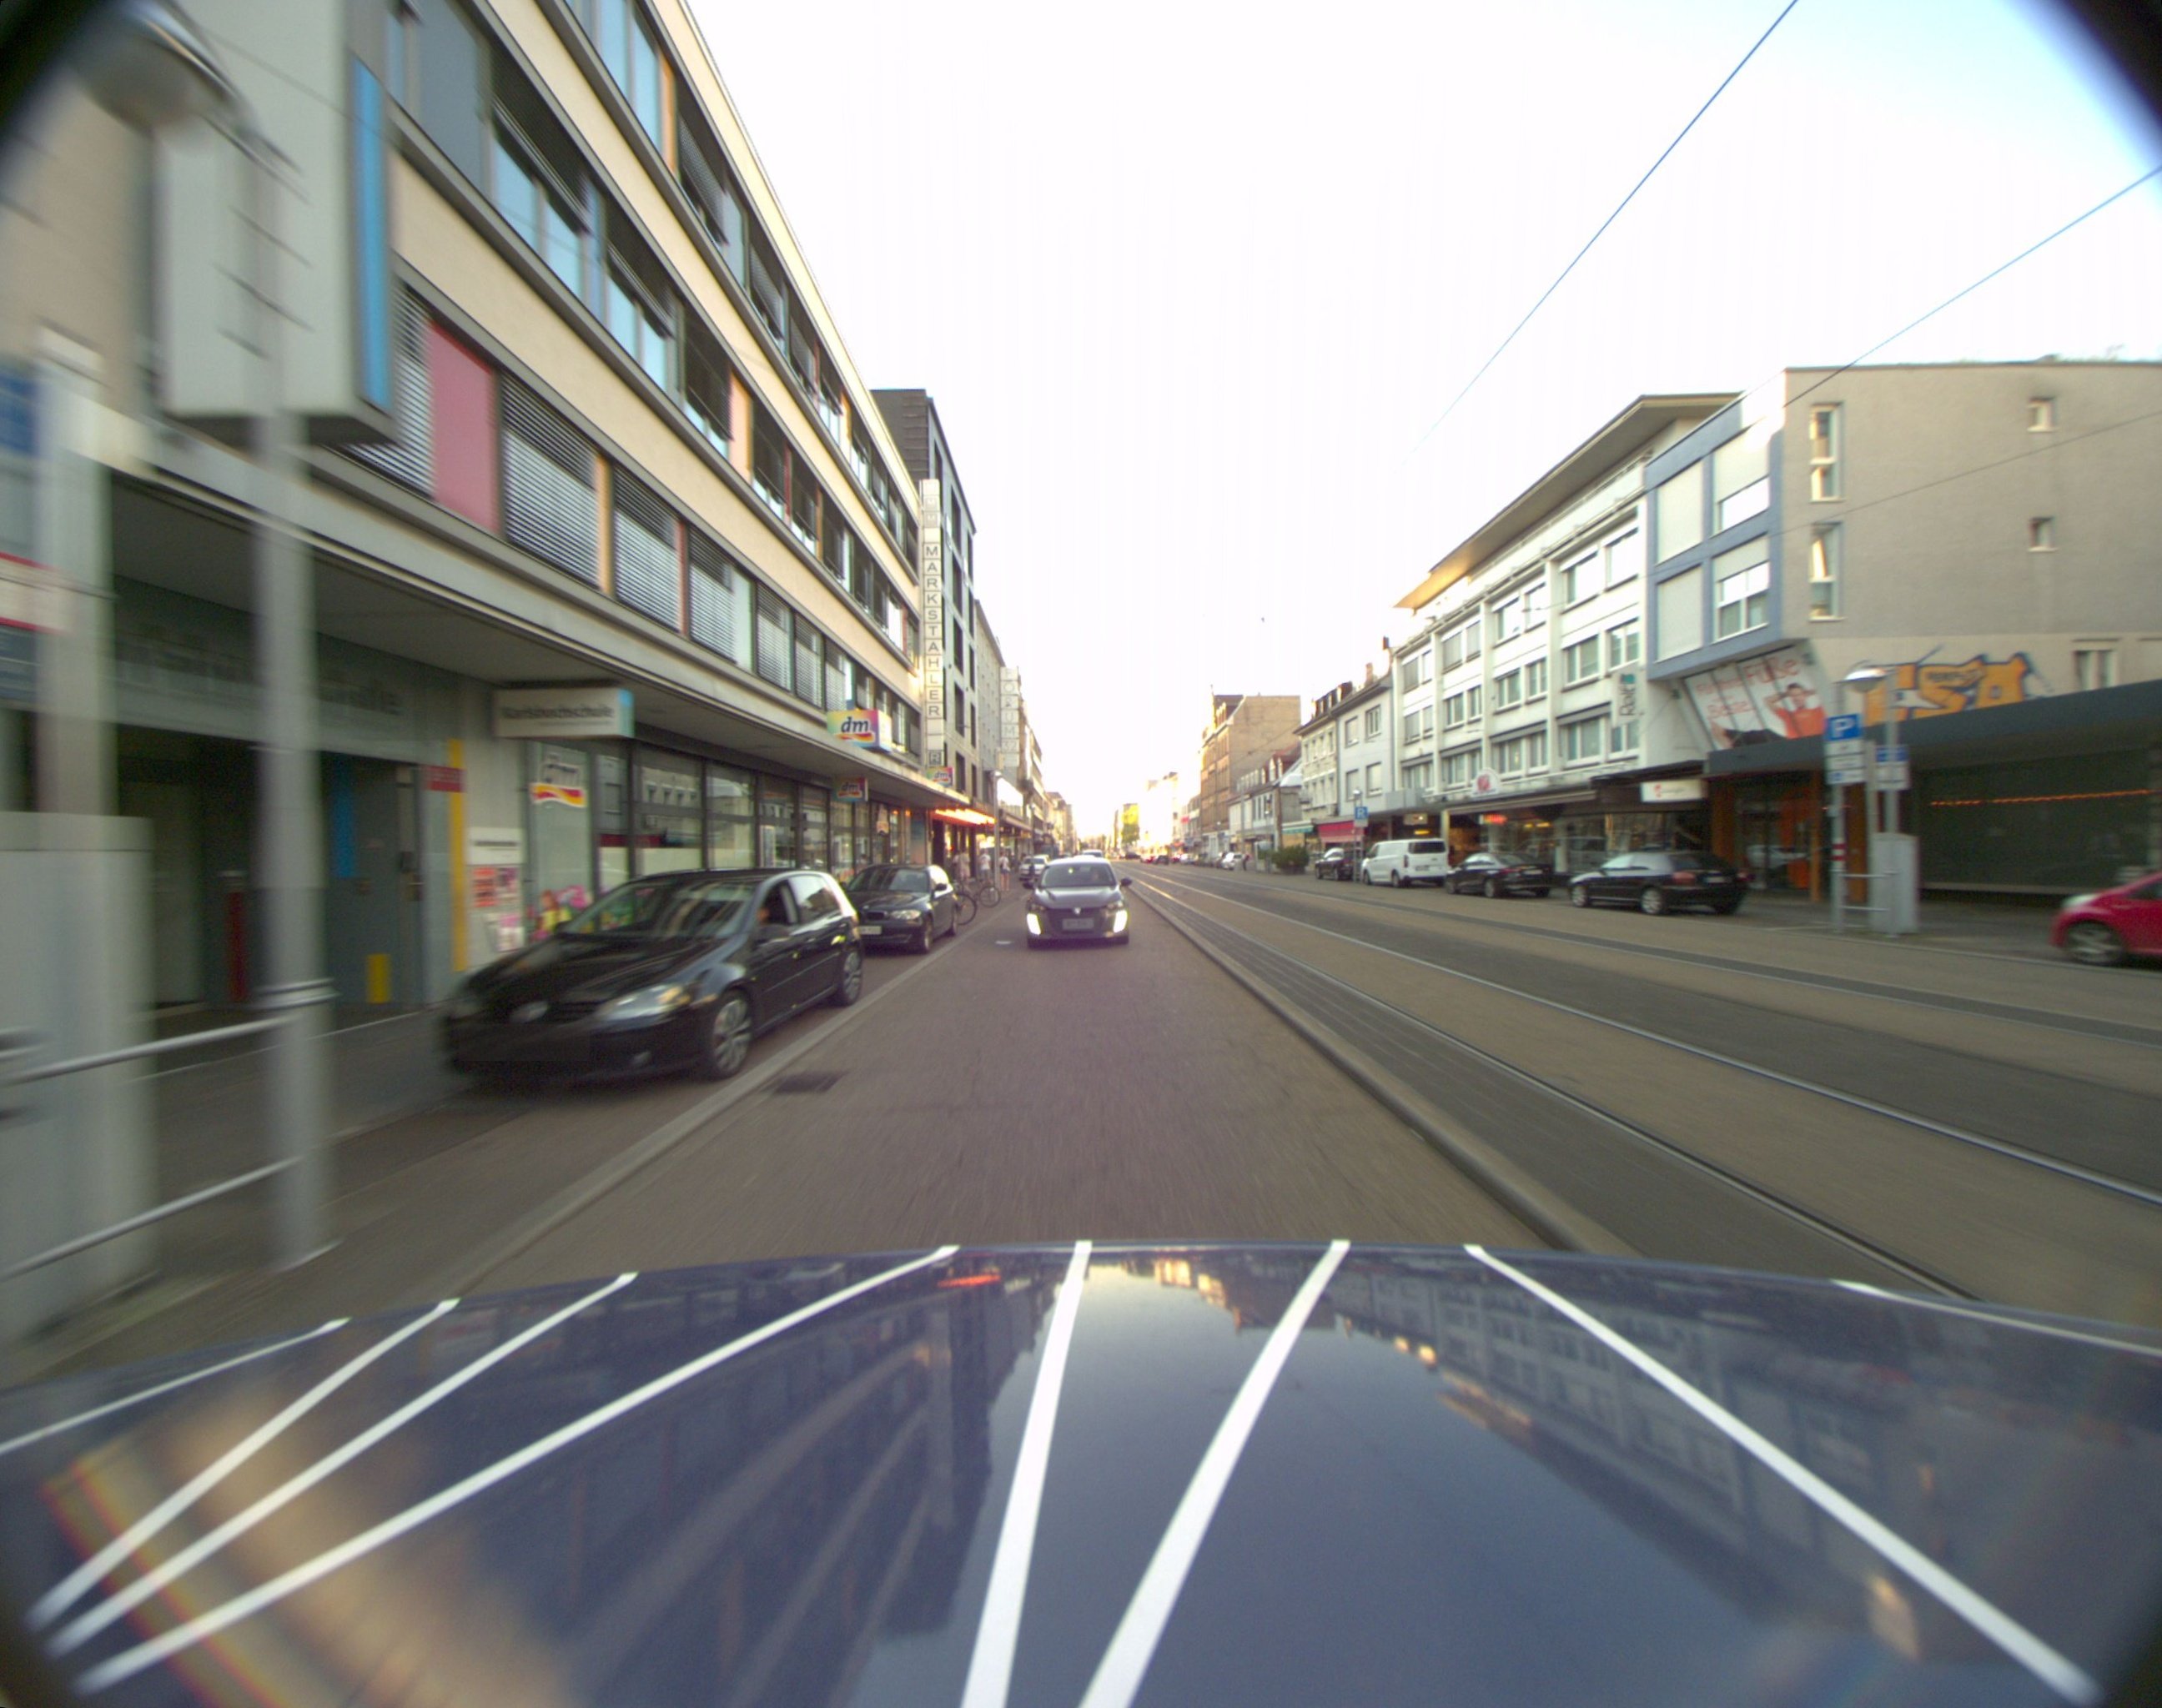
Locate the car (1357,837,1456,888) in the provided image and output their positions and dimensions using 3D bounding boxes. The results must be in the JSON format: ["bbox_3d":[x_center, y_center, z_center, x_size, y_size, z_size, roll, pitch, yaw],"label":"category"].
[{"bbox_3d":[13.562,0.320,32.054,1.960,1.965,5.162,-1,0,0],"label":"car"}]

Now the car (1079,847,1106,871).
[{"bbox_3d":[0.872,0.340,60.167,1.999,1.805,3.999,-1,1,-1],"label":"car"}]

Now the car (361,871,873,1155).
[{"bbox_3d":[-3.238,0.961,6.447,1.724,1.503,4.167,0,0,1],"label":"car"}]

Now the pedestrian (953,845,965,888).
[{"bbox_3d":[-5.417,0.555,33.720,0.452,1.888,0.421,-1,1,0],"label":"pedestrian"}]

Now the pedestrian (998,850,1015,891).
[{"bbox_3d":[-3.161,0.697,32.309,0.605,1.717,0.646,-1,1,0],"label":"pedestrian"}]

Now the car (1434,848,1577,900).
[{"bbox_3d":[13.487,0.588,24.522,1.998,1.457,4.558,-2,0,0],"label":"car"}]

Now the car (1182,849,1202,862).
[{"bbox_3d":[14.401,0.181,99.050,1.998,1.543,4.206,-1,0,0],"label":"car"}]

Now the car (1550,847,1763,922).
[{"bbox_3d":[13.349,0.621,18.040,1.690,1.503,4.446,-2,0,1],"label":"car"}]

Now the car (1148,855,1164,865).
[{"bbox_3d":[11.287,0.873,113.932,1.998,1.543,4.000,-1,0,0],"label":"car"}]

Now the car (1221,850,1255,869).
[{"bbox_3d":[13.722,0.424,66.671,1.998,1.535,4.878,-2,0,1],"label":"car"}]

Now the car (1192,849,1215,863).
[{"bbox_3d":[14.025,0.232,87.318,1.998,1.543,4.000,-1,0,0],"label":"car"}]

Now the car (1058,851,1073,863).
[{"bbox_3d":[-2.049,0.367,103.675,1.999,1.627,5.243,-1,0,-1],"label":"car"}]

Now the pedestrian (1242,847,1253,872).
[{"bbox_3d":[13.108,0.433,59.820,0.823,2.002,0.713,0,1,16],"label":"pedestrian"}]

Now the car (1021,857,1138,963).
[{"bbox_3d":[-0.040,0.864,13.733,1.732,1.513,4.333,-2,0,-1],"label":"car"}]

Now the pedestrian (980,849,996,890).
[{"bbox_3d":[-3.958,0.650,32.366,0.610,1.743,0.605,-1,1,0],"label":"pedestrian"}]

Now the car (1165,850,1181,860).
[{"bbox_3d":[14.564,0.169,120.350,1.998,1.543,4.000,-1,0,0],"label":"car"}]

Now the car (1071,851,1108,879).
[{"bbox_3d":[0.461,0.595,42.749,1.998,1.450,3.999,-1,0,0],"label":"car"}]

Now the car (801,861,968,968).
[{"bbox_3d":[-3.228,0.919,13.367,1.748,1.503,4.257,0,0,1],"label":"car"}]

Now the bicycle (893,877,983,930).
[{"bbox_3d":[-3.194,1.103,17.110,1.890,1.131,0.676,-1,1,-2],"label":"bicycle"}]

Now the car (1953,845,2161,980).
[{"bbox_3d":[13.182,0.667,8.660,1.690,1.503,4.215,-2,0,1],"label":"car"}]

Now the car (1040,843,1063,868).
[{"bbox_3d":[-2.809,0.135,74.309,2.046,2.371,5.584,-1,0,-1],"label":"car"}]

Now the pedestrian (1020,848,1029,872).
[{"bbox_3d":[-4.215,0.464,56.448,0.610,1.743,0.605,-1,1,0],"label":"pedestrian"}]

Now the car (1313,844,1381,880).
[{"bbox_3d":[13.669,0.363,39.374,1.863,1.711,4.527,-2,0,0],"label":"car"}]

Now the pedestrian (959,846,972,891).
[{"bbox_3d":[-4.836,0.594,31.849,0.456,1.888,0.421,-1,1,0],"label":"pedestrian"}]

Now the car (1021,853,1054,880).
[{"bbox_3d":[-2.635,0.742,46.333,1.682,1.534,3.886,1,0,1],"label":"car"}]

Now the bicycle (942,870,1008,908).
[{"bbox_3d":[-3.171,1.051,22.869,1.890,1.071,0.676,1,1,-2],"label":"bicycle"}]

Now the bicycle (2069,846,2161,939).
[{"bbox_3d":[17.222,0.584,12.074,1.973,1.417,0.834,-1,1,-1],"label":"bicycle"}]

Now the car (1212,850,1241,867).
[{"bbox_3d":[13.785,0.361,72.243,1.914,1.535,4.552,-1,0,0],"label":"car"}]

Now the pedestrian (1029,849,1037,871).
[{"bbox_3d":[-3.966,0.496,63.055,0.610,1.743,0.605,-1,1,0],"label":"pedestrian"}]

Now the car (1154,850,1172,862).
[{"bbox_3d":[10.734,0.221,100.144,1.998,1.543,4.000,0,1,0],"label":"car"}]

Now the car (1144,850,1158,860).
[{"bbox_3d":[11.153,0.079,121.095,1.998,1.543,4.000,-1,0,0],"label":"car"}]

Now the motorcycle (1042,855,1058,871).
[{"bbox_3d":[-2.691,0.742,66.074,0.574,1.369,1.512,0,1,30],"label":"motorcycle"}]

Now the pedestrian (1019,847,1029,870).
[{"bbox_3d":[-4.952,0.380,65.909,0.711,2.002,0.824,-1,1,0],"label":"pedestrian"}]
